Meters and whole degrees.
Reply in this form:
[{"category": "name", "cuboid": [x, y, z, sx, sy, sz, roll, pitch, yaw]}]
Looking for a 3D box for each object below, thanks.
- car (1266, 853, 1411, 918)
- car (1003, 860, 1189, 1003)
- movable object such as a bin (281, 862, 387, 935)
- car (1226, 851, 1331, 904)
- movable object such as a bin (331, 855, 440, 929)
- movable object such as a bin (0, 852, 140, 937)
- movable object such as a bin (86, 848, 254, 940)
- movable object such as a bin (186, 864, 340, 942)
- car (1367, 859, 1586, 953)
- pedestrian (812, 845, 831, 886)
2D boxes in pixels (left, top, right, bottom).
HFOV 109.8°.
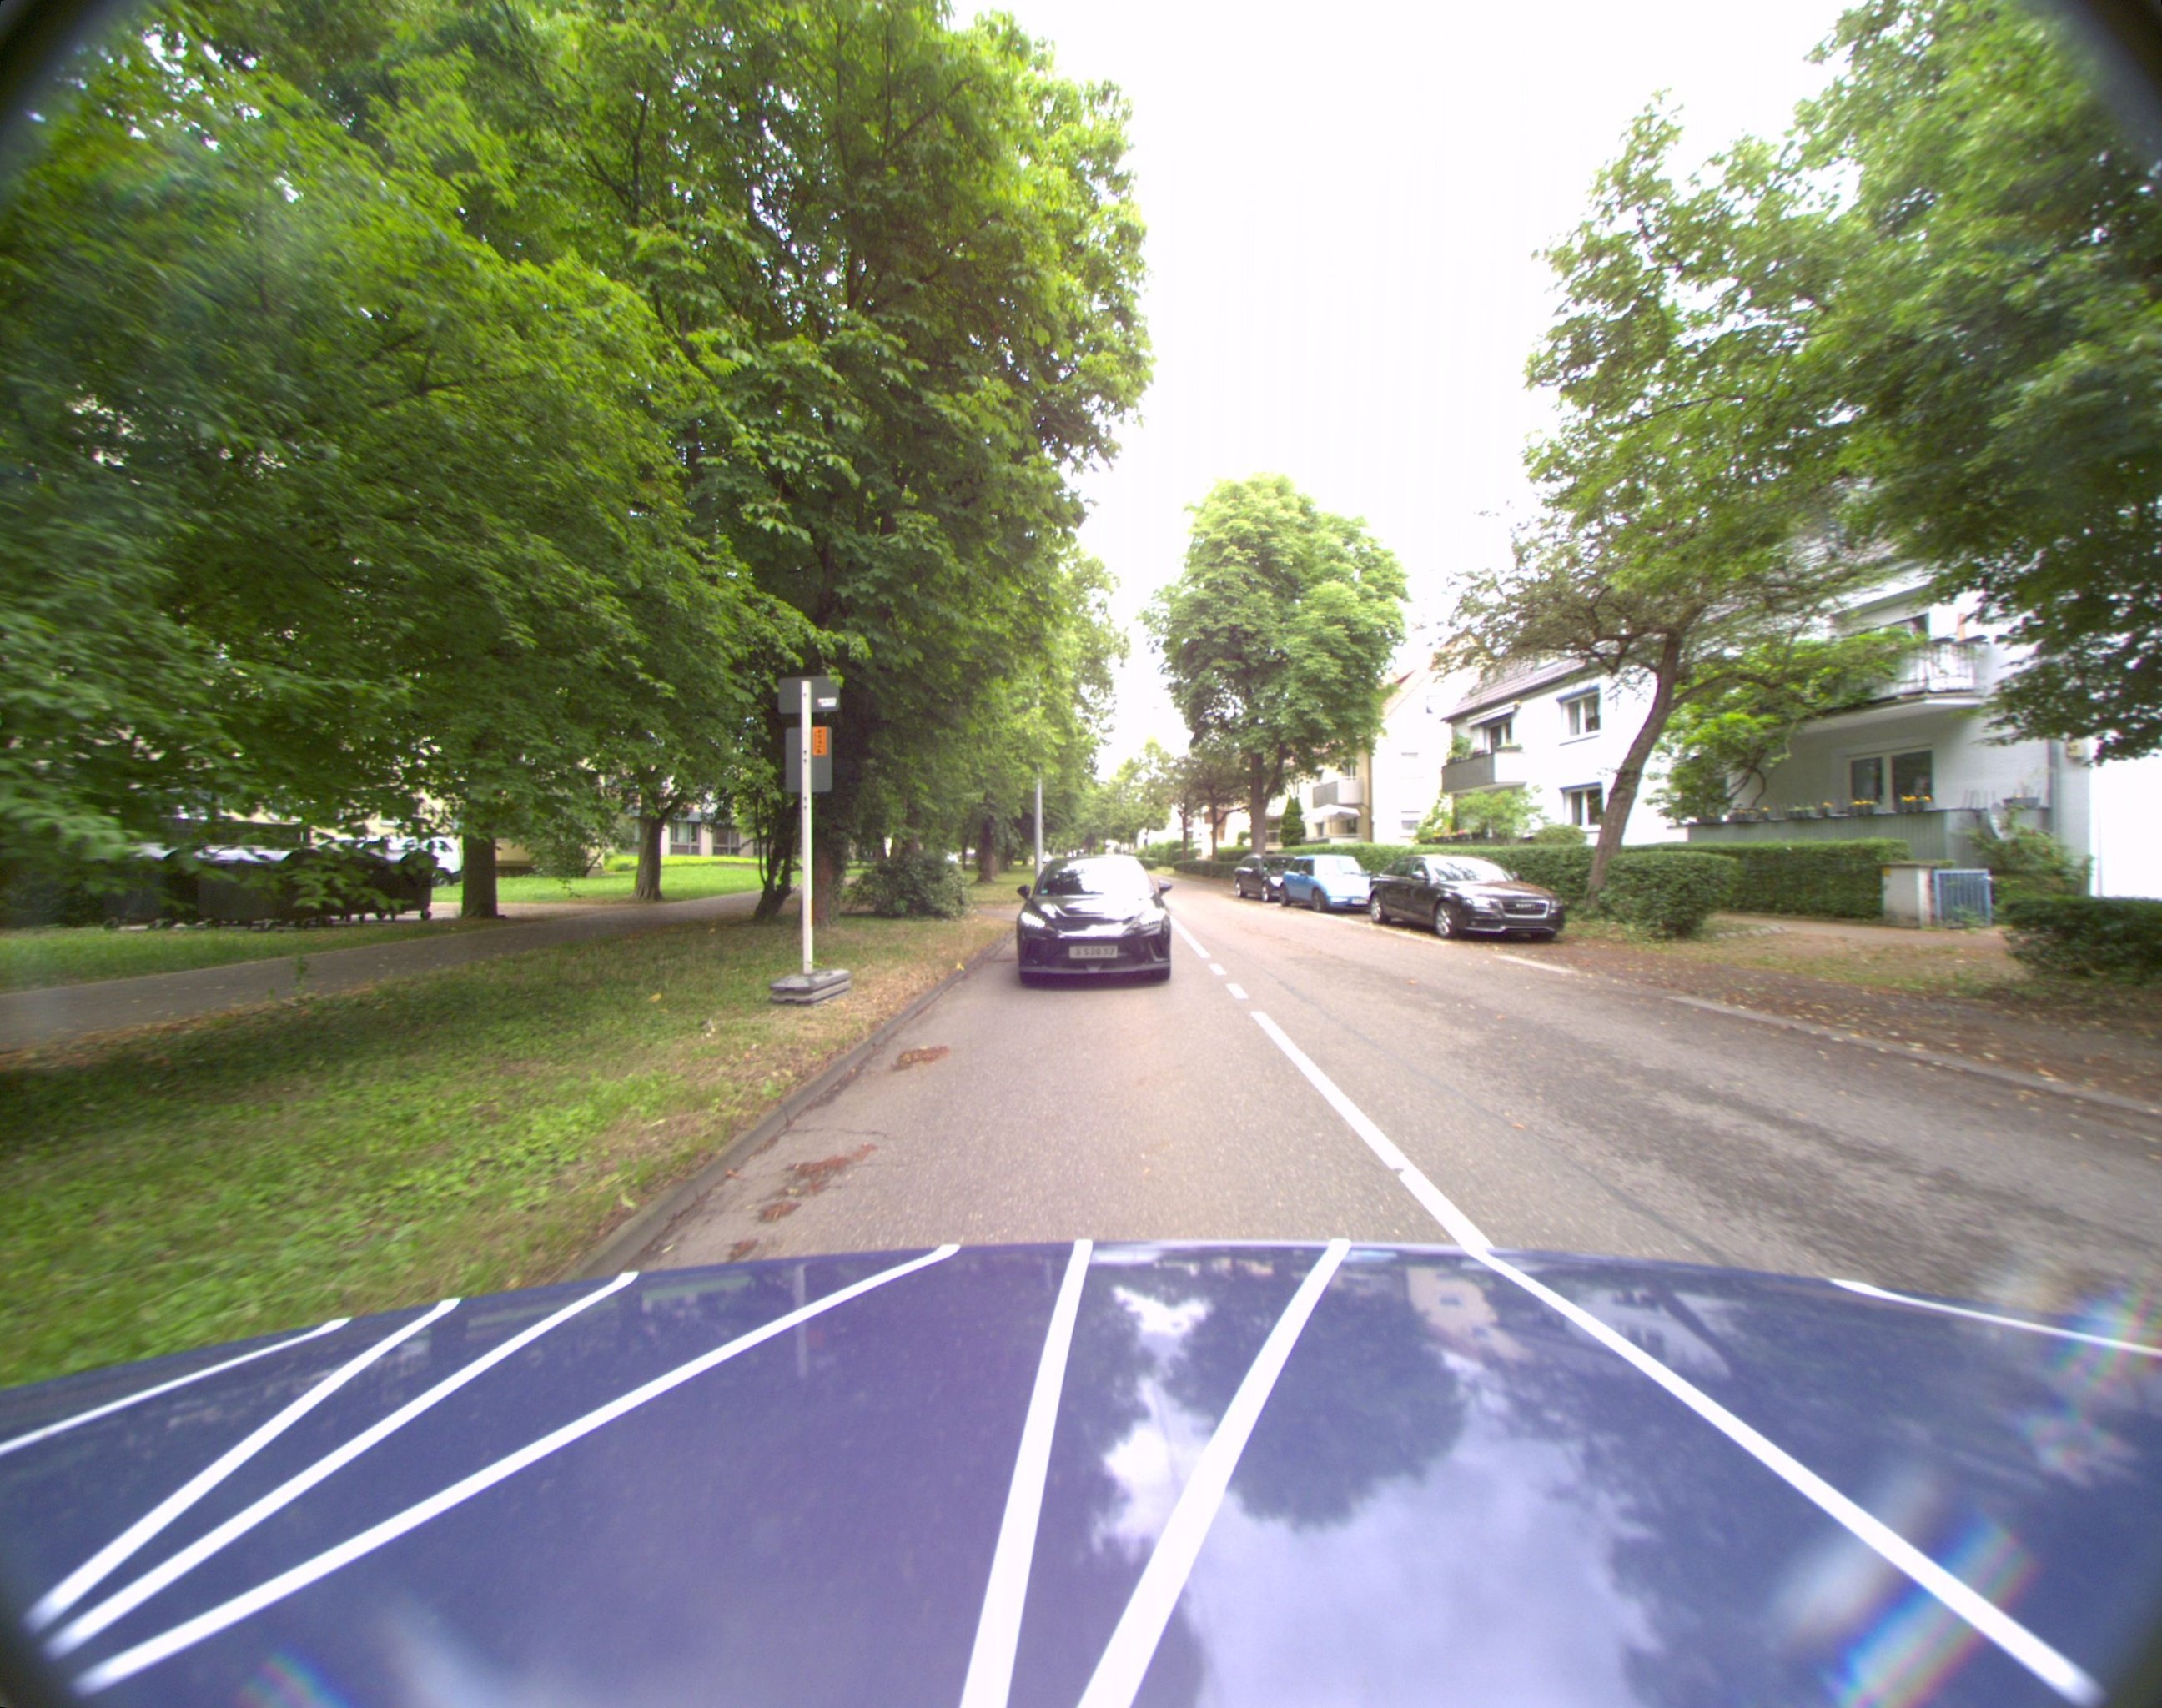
[{"category": "car", "cuboid": [6.460, 0.717, 19.690, 1.889, 1.492, 4.564, 0, 0, -5]}, {"category": "car", "cuboid": [0.126, 0.853, 10.493, 1.999, 1.491, 4.614, 0, 0, -1]}, {"category": "movable object such as a bin", "cuboid": [-13.848, 0.805, 14.123, 1.026, 1.296, 0.959, 0, 1, -9]}, {"category": "car", "cuboid": [6.202, 0.678, 24.437, 1.889, 1.525, 4.564, 0, 0, -5]}, {"category": "movable object such as a bin", "cuboid": [-13.881, 0.736, 15.215, 1.195, 1.405, 1.110, 0, 1, -9]}, {"category": "movable object such as a bin", "cuboid": [-17.083, 0.646, 12.640, 1.195, 1.334, 1.347, 0, 0, -9]}, {"category": "movable object such as a bin", "cuboid": [-15.142, 0.633, 12.695, 1.195, 1.448, 1.347, 0, 1, -9]}, {"category": "movable object such as a bin", "cuboid": [-13.832, 0.796, 12.924, 1.195, 1.213, 1.347, 0, 0, -9]}, {"category": "car", "cuboid": [6.820, 0.804, 13.678, 1.736, 1.395, 4.171, 0, 0, -1]}, {"category": "pedestrian", "cuboid": [-11.189, 0.495, 32.768, 0.565, 1.730, 0.570, 1, 1, -2]}]
